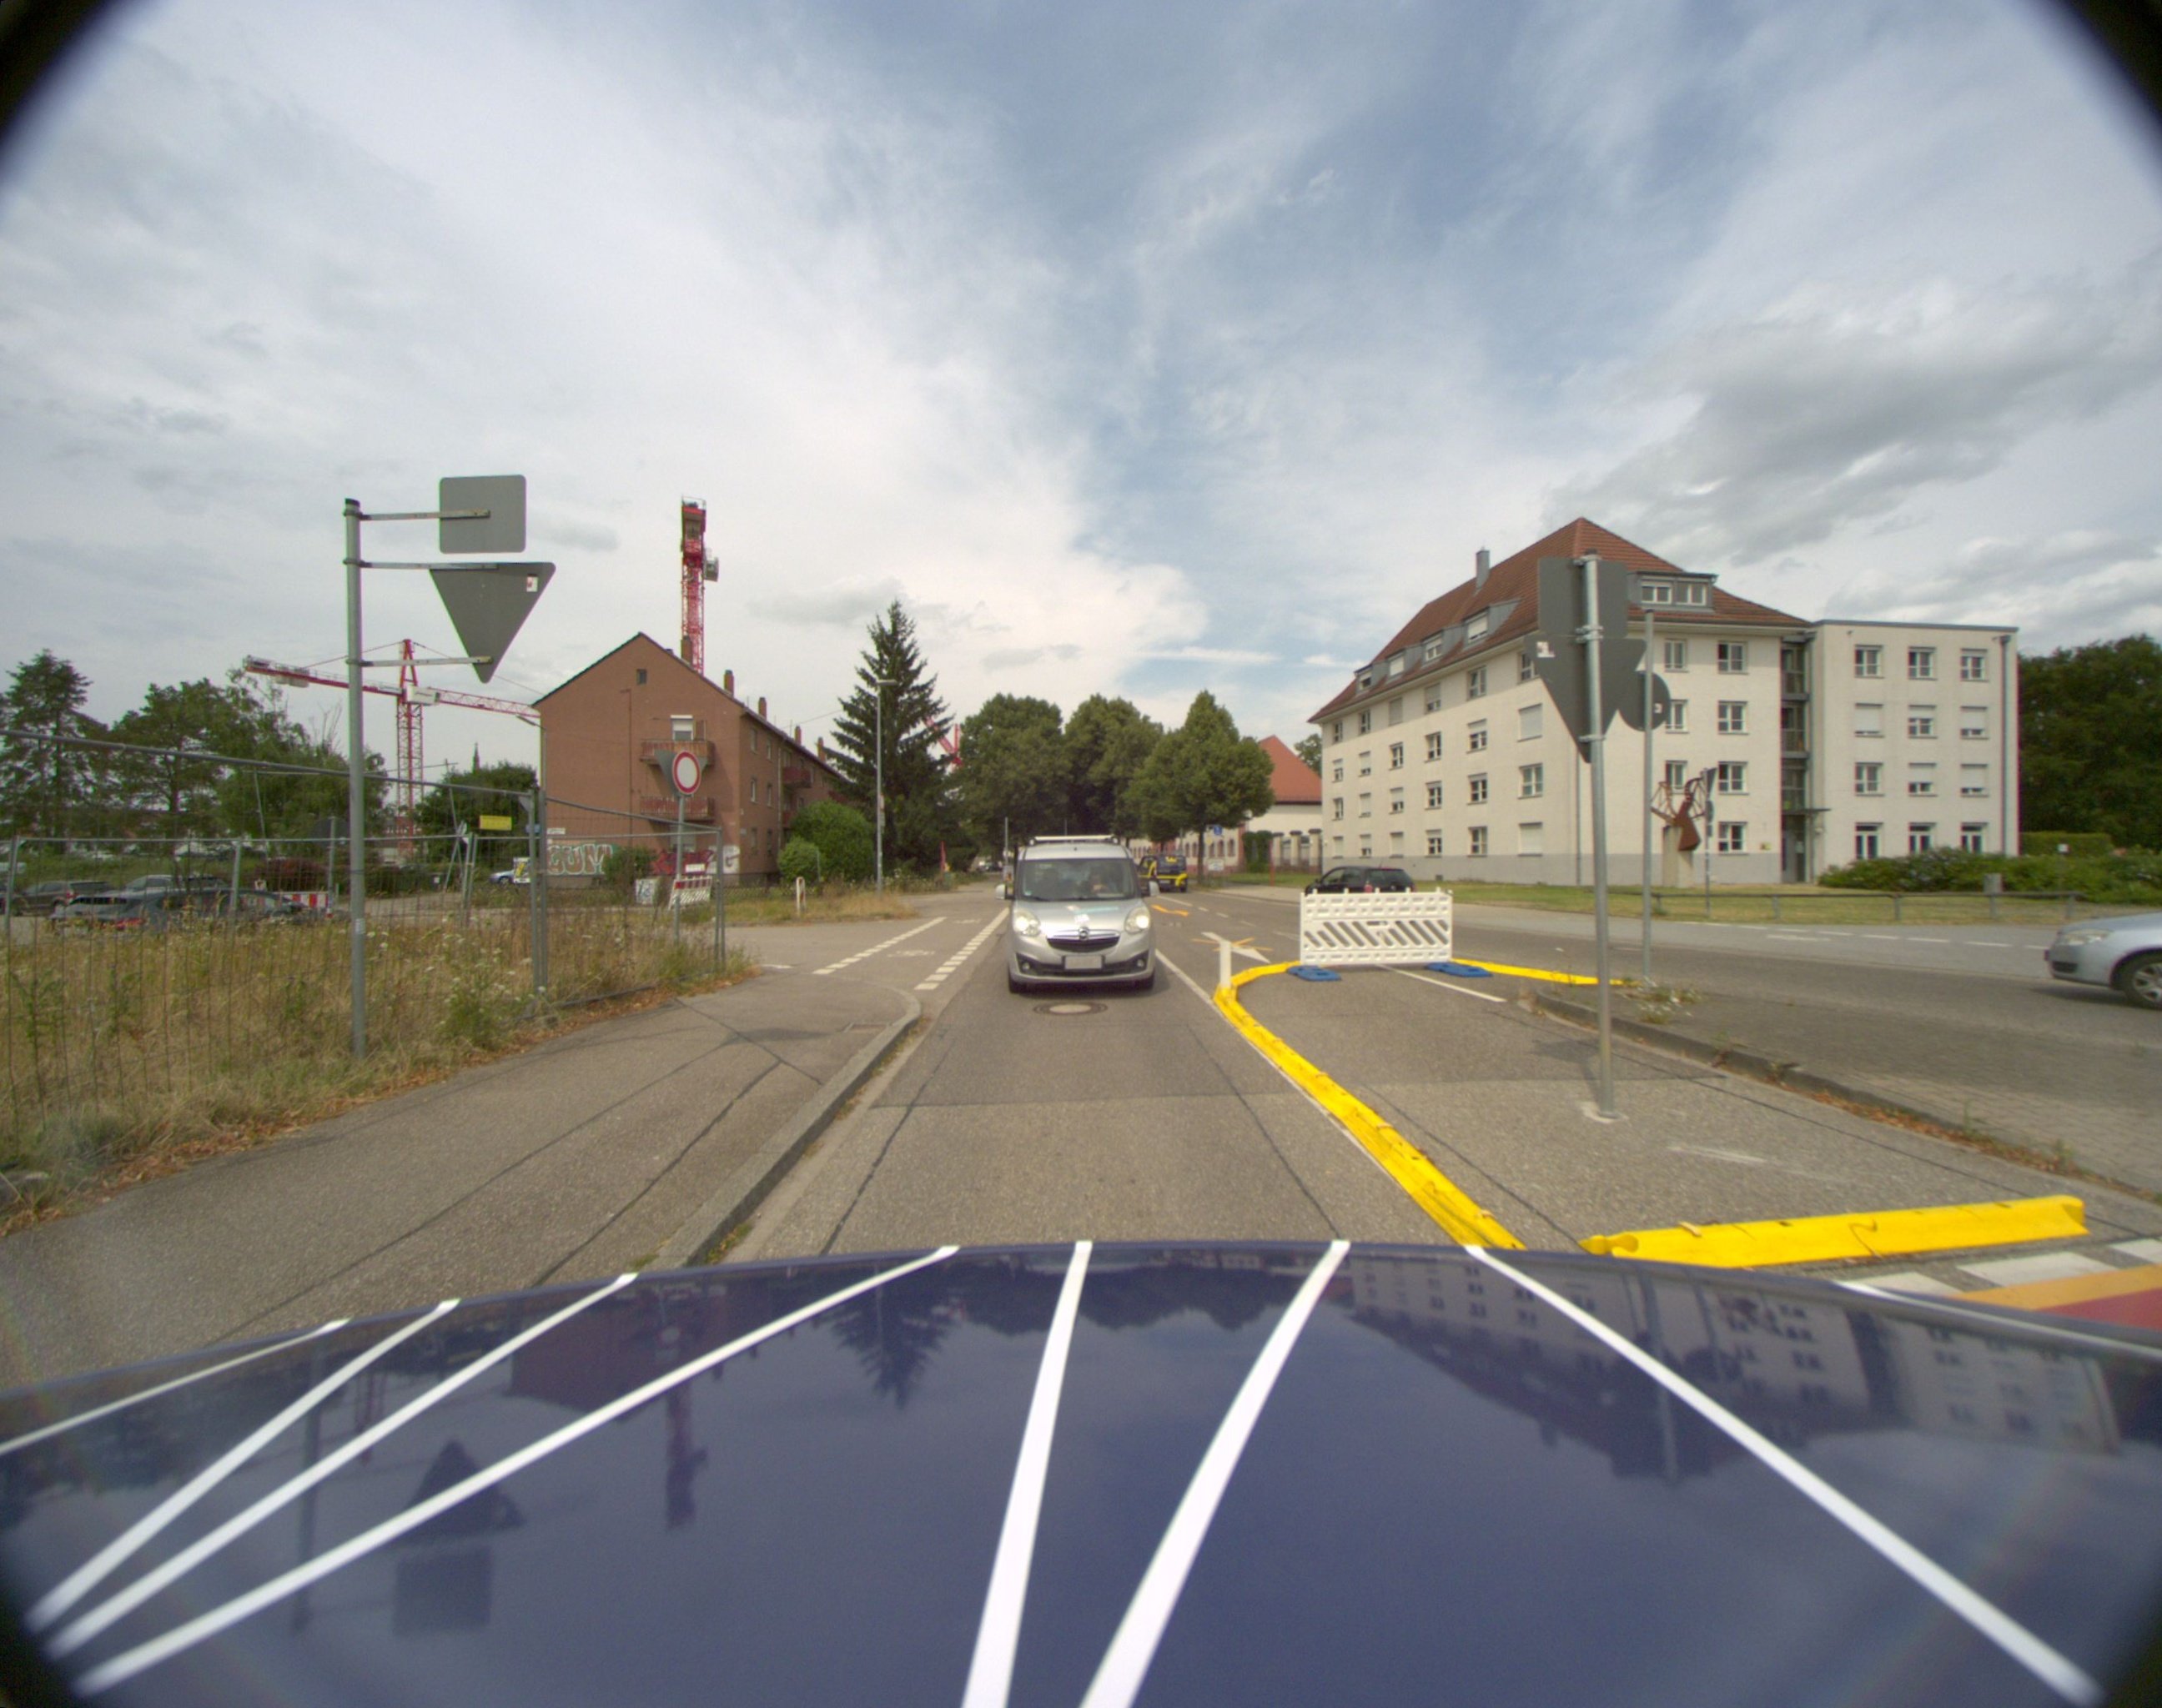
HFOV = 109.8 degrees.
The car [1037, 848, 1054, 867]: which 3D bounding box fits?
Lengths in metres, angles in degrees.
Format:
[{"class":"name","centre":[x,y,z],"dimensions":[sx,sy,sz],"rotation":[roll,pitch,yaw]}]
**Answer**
[{"class":"car","centre":[-5.166,0.537,109.702],"dimensions":[2.071,2.670,5.967],"rotation":[-1,0,-6]}]

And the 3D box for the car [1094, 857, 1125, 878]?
[{"class":"car","centre":[2.254,1.108,61.677],"dimensions":[1.801,1.613,4.745],"rotation":[-1,0,-7]}]

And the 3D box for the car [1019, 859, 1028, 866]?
[{"class":"car","centre":[-11.161,1.619,146.856],"dimensions":[1.677,1.402,3.918],"rotation":[-1,0,-5]}]

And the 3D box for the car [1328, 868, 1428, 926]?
[{"class":"car","centre":[7.908,1.099,20.574],"dimensions":[1.630,1.406,3.724],"rotation":[1,-1,7]}]

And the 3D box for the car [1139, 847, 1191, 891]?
[{"class":"car","centre":[4.474,0.783,41.270],"dimensions":[1.999,2.259,5.159],"rotation":[-1,0,-3]}]

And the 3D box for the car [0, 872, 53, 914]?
[{"class":"car","centre":[-46.731,1.662,32.454],"dimensions":[4.006,1.739,1.859],"rotation":[-1,0,12]}]

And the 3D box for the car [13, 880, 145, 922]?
[{"class":"car","centre":[-41.691,1.940,31.647],"dimensions":[4.006,1.593,1.804],"rotation":[-1,0,13]}]

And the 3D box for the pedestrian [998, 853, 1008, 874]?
[{"class":"pedestrian","centre":[-7.679,0.948,74.792],"dimensions":[0.856,2.002,0.731],"rotation":[-1,0,-15]}]

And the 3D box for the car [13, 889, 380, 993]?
[{"class":"car","centre":[-16.197,1.506,14.339],"dimensions":[1.765,1.465,4.261],"rotation":[-1,0,5]}]

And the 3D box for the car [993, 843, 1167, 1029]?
[{"class":"car","centre":[-0.079,0.867,10.291],"dimensions":[1.810,1.936,4.583],"rotation":[-1,0,-2]}]

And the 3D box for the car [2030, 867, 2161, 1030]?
[{"class":"car","centre":[11.585,0.886,6.463],"dimensions":[1.631,1.510,4.208],"rotation":[0,0,-31]}]
